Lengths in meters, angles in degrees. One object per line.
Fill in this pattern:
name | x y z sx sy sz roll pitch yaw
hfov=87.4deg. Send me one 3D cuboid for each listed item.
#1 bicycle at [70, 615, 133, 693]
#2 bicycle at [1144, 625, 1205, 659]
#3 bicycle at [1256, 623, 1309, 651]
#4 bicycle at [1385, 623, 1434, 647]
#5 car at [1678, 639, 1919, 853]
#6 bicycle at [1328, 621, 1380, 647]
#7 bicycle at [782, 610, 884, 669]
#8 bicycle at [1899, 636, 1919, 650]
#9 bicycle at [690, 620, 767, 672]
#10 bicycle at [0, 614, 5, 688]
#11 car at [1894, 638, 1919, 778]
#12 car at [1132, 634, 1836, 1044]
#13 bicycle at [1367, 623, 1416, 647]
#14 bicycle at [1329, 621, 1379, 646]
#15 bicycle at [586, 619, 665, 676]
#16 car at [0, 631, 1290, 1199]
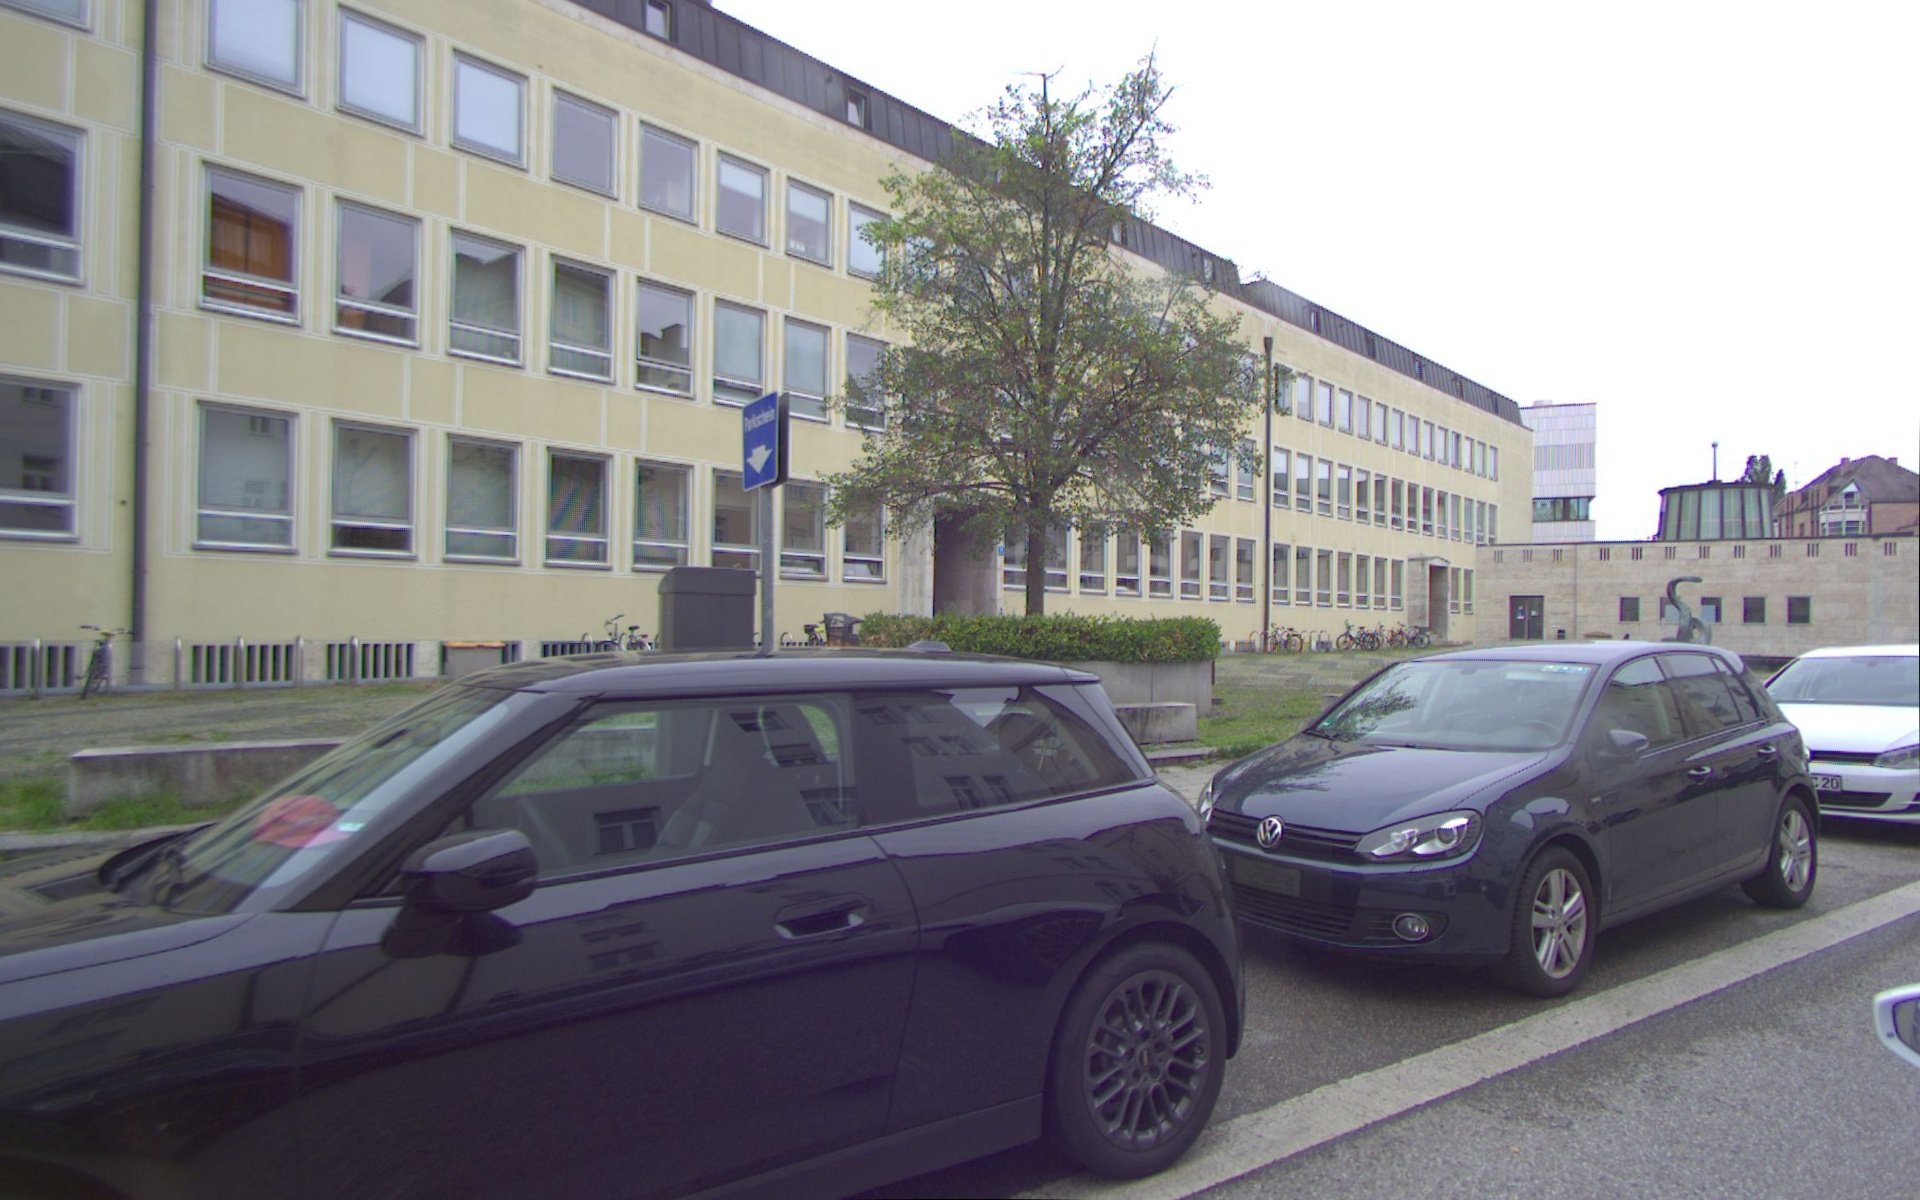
bicycle | -12.236 0.741 14.355 0.620 1.028 1.931 1 -1 -39
bicycle | 6.884 1.323 32.282 0.621 1.028 1.928 1 -1 -43
bicycle | 12.244 1.390 38.223 0.619 1.028 1.933 1 -1 -36
bicycle | 20.329 1.566 45.485 1.923 1.028 0.623 0 -1 40
car | 7.966 1.070 8.562 4.029 1.472 1.647 1 -3 -33
bicycle | 16.422 1.398 41.904 1.926 1.028 0.622 0 -1 44
bicycle | -2.922 0.877 22.920 2.409 1.265 1.050 0 -1 44
bicycle | 93.320 4.221 98.440 1.728 1.305 0.552 1 0 30
bicycle | -4.905 0.946 21.224 1.926 1.028 0.622 0 -1 44
bicycle | -13.354 0.711 13.472 0.620 1.028 1.931 1 -1 -39
car | 12.368 1.161 11.220 4.347 1.472 1.746 1 -3 -32
car | 2.946 0.930 5.409 3.932 1.472 1.647 1 -3 -33
bicycle | 19.173 1.534 44.675 0.621 1.028 1.928 1 -1 -44
bicycle | 16.752 1.424 42.770 0.620 1.028 1.930 1 -1 -40
bicycle | -6.489 0.887 19.446 1.926 1.028 0.622 0 -1 44
car | -1.082 0.834 2.728 3.825 1.472 1.672 1 -3 -31
